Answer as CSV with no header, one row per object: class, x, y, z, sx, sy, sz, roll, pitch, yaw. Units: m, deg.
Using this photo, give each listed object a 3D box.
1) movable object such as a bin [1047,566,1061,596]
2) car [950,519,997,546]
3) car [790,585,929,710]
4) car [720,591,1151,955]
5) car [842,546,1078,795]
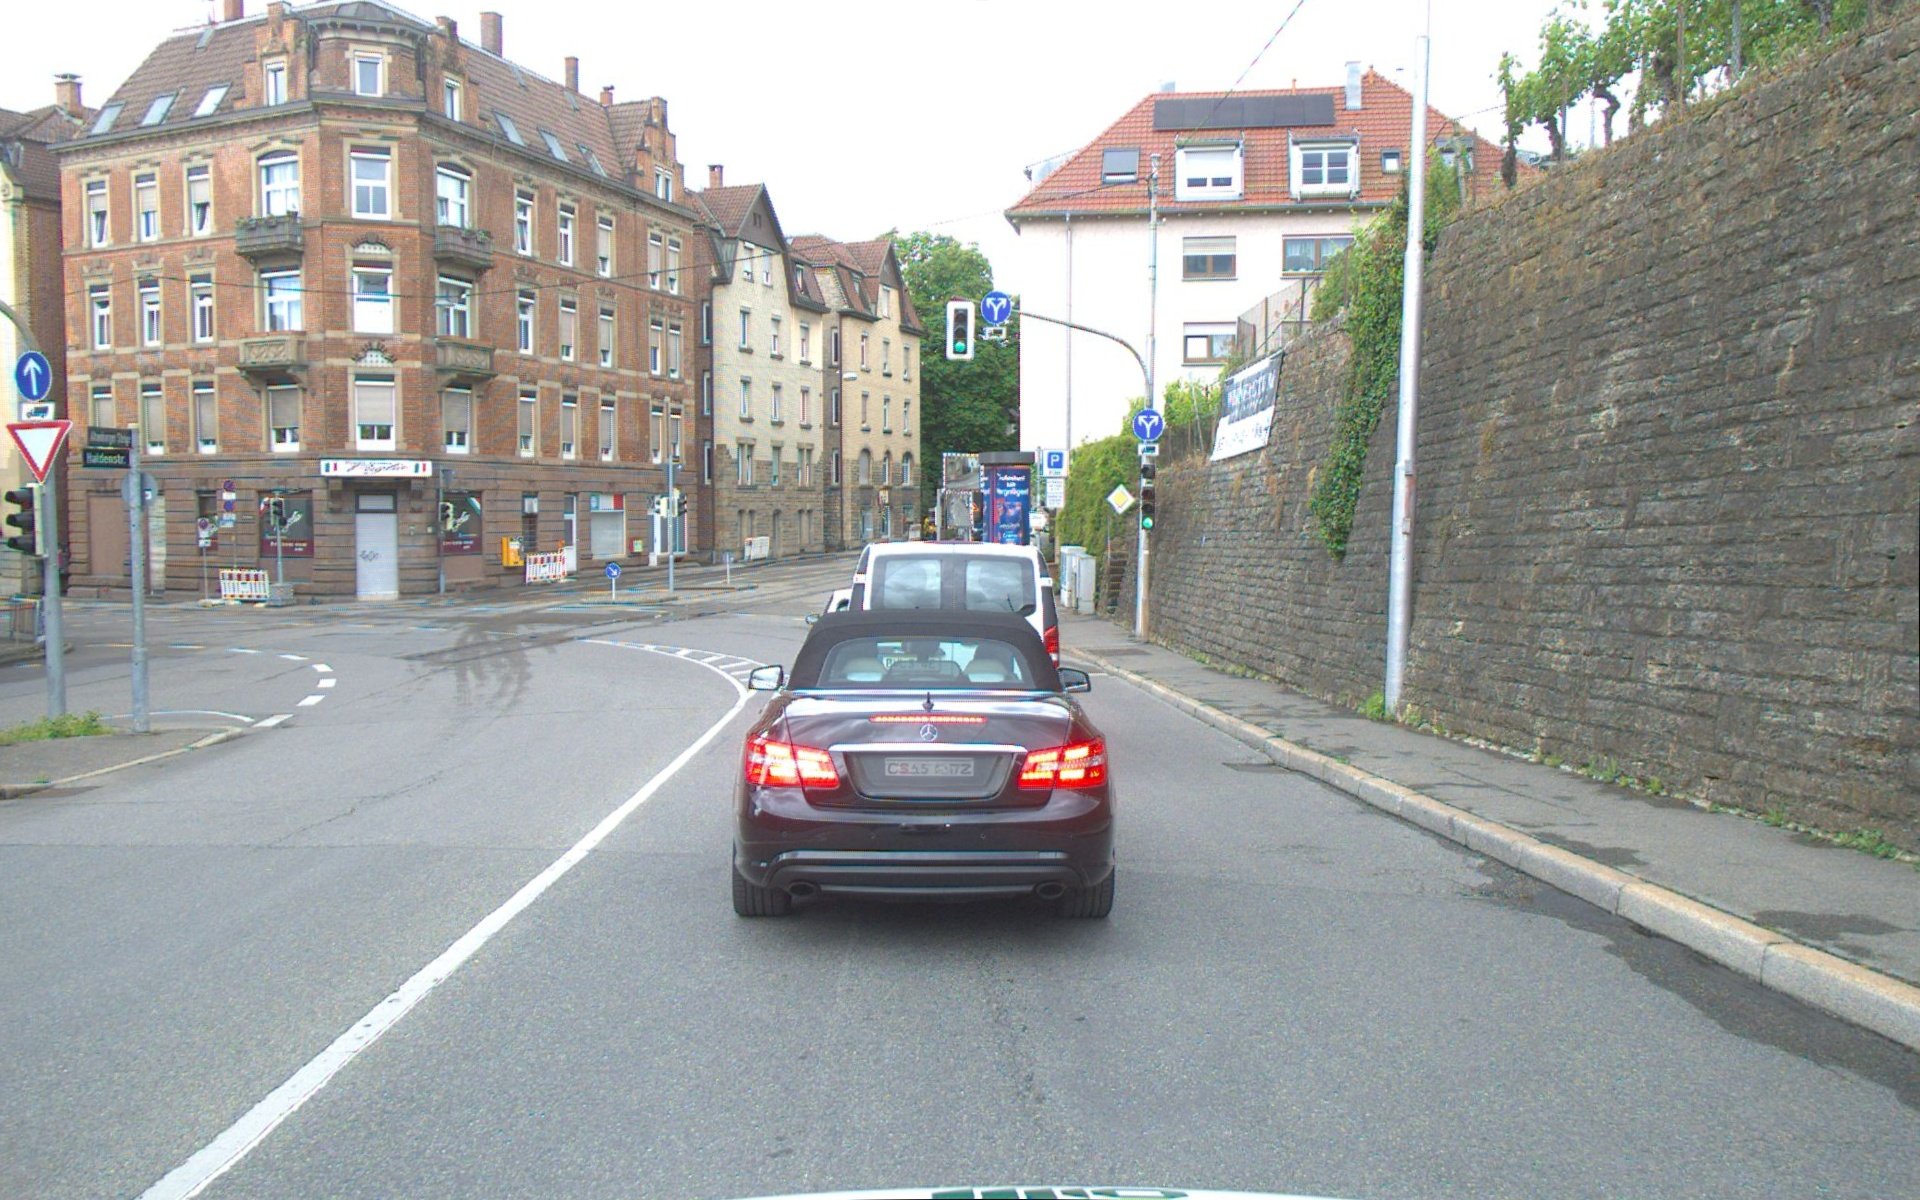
movable object such as a bin,2.902,-0.588,50.965,0.337,0.927,0.494,0,1,-7
car,0.847,-4.260,103.751,1.951,1.541,4.291,0,4,14
car,-1.239,0.555,21.803,1.647,1.491,3.918,0,1,-1
car,-0.129,0.684,8.842,1.726,1.434,4.398,0,1,-1
car,-0.035,0.520,15.483,1.853,1.962,4.645,1,1,-1
